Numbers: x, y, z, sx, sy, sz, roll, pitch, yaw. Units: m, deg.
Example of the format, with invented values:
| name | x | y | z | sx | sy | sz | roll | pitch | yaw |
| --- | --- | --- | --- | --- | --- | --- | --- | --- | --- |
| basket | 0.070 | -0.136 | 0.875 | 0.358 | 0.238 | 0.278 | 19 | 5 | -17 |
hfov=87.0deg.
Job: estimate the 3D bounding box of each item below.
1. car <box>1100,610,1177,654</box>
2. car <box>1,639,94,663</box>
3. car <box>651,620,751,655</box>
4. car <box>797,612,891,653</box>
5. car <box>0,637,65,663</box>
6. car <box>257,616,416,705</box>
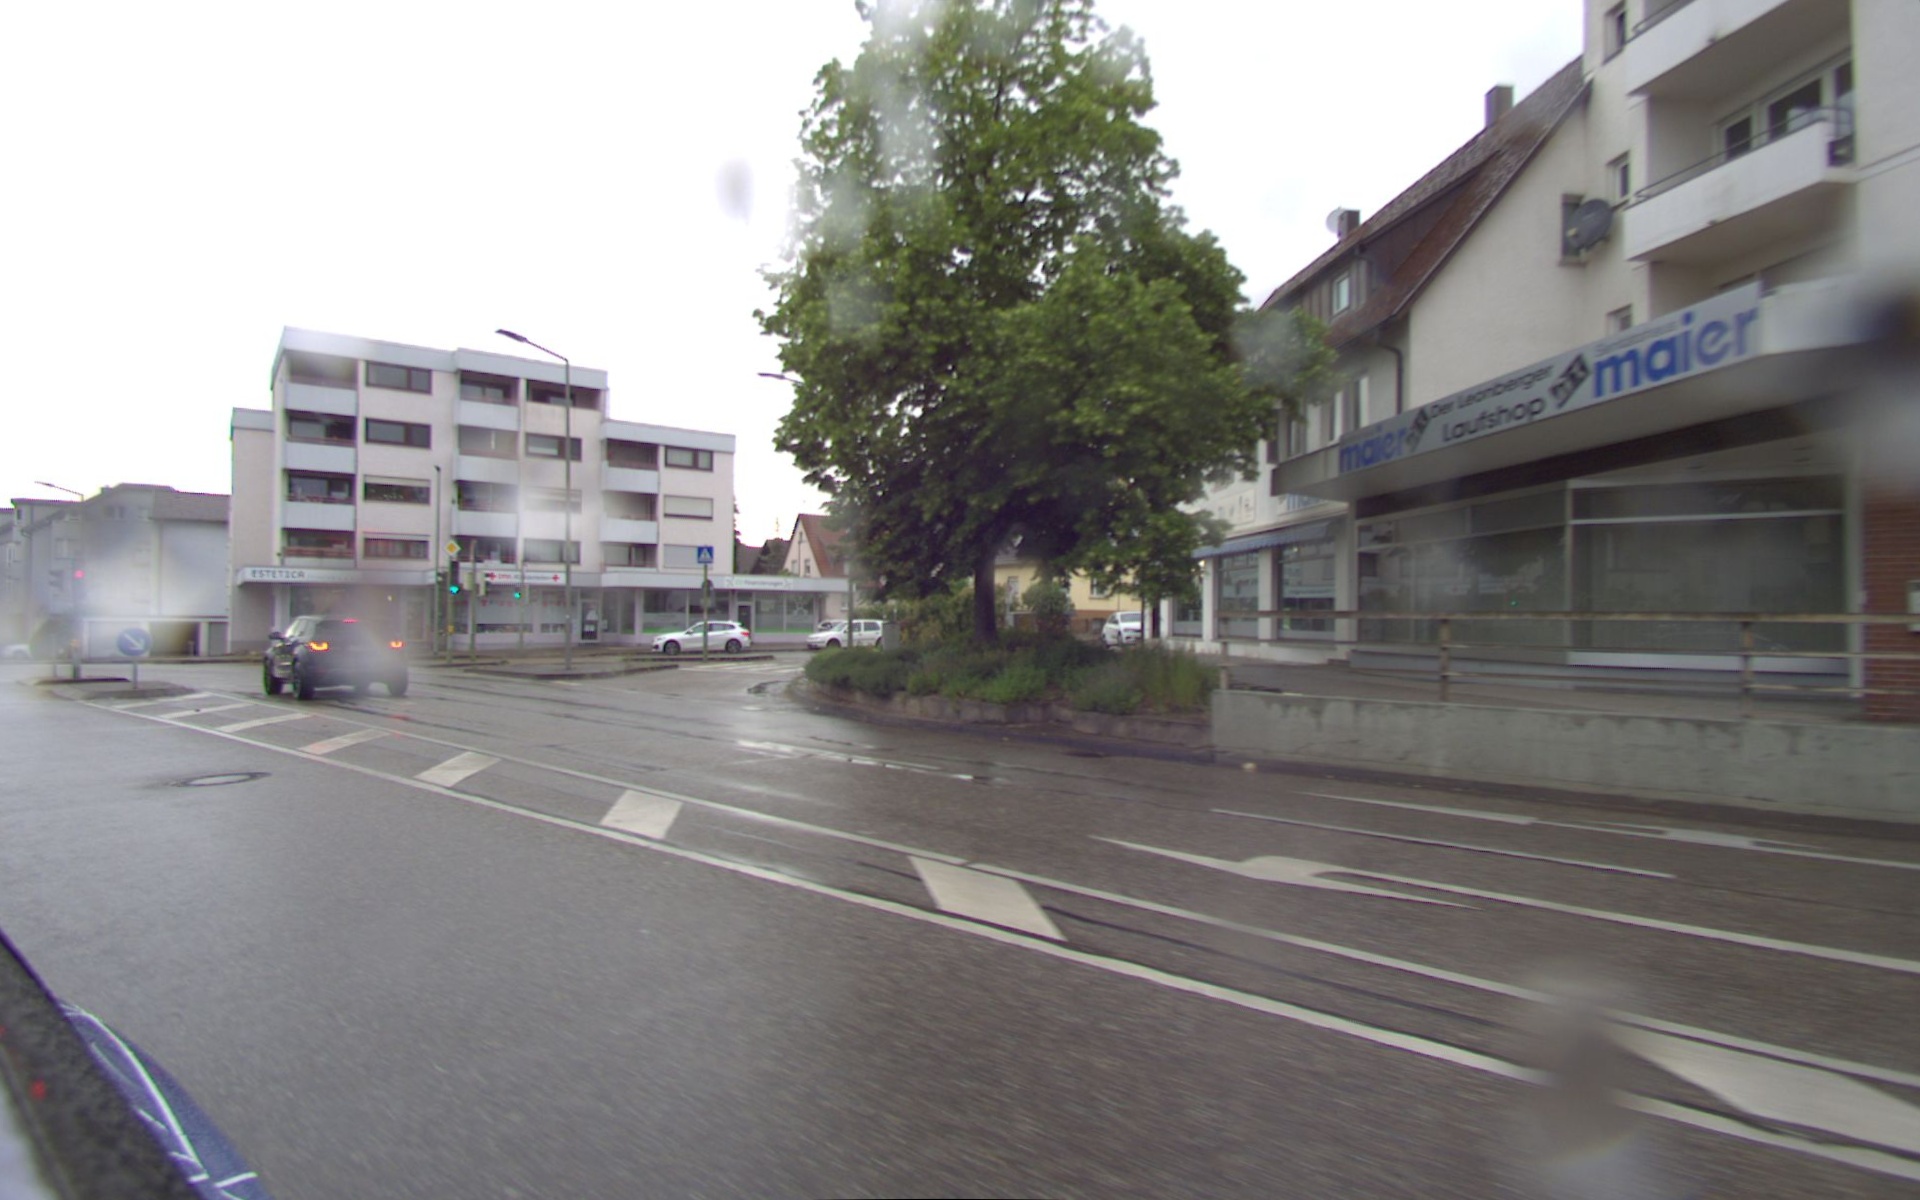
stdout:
| name | x | y | z | sx | sy | sz | roll | pitch | yaw |
| --- | --- | --- | --- | --- | --- | --- | --- | --- | --- |
| car | 6.592 | 1.170 | 37.792 | 1.971 | 1.537 | 4.002 | -1 | -1 | -2 |
| car | -61.937 | 3.415 | 68.740 | 1.930 | 1.508 | 4.559 | -2 | -2 | 44 |
| car | -11.509 | 1.645 | 44.938 | 4.215 | 1.445 | 1.840 | -1 | -1 | -15 |
| car | -5.308 | 1.472 | 46.539 | 3.852 | 1.746 | 1.840 | 0 | -1 | -33 |
| car | -66.289 | 3.488 | 70.653 | 5.386 | 1.697 | 2.154 | 0 | -2 | -30 |
| car | -12.576 | 1.160 | 20.291 | 1.782 | 1.569 | 4.320 | 0 | -2 | -45 |
